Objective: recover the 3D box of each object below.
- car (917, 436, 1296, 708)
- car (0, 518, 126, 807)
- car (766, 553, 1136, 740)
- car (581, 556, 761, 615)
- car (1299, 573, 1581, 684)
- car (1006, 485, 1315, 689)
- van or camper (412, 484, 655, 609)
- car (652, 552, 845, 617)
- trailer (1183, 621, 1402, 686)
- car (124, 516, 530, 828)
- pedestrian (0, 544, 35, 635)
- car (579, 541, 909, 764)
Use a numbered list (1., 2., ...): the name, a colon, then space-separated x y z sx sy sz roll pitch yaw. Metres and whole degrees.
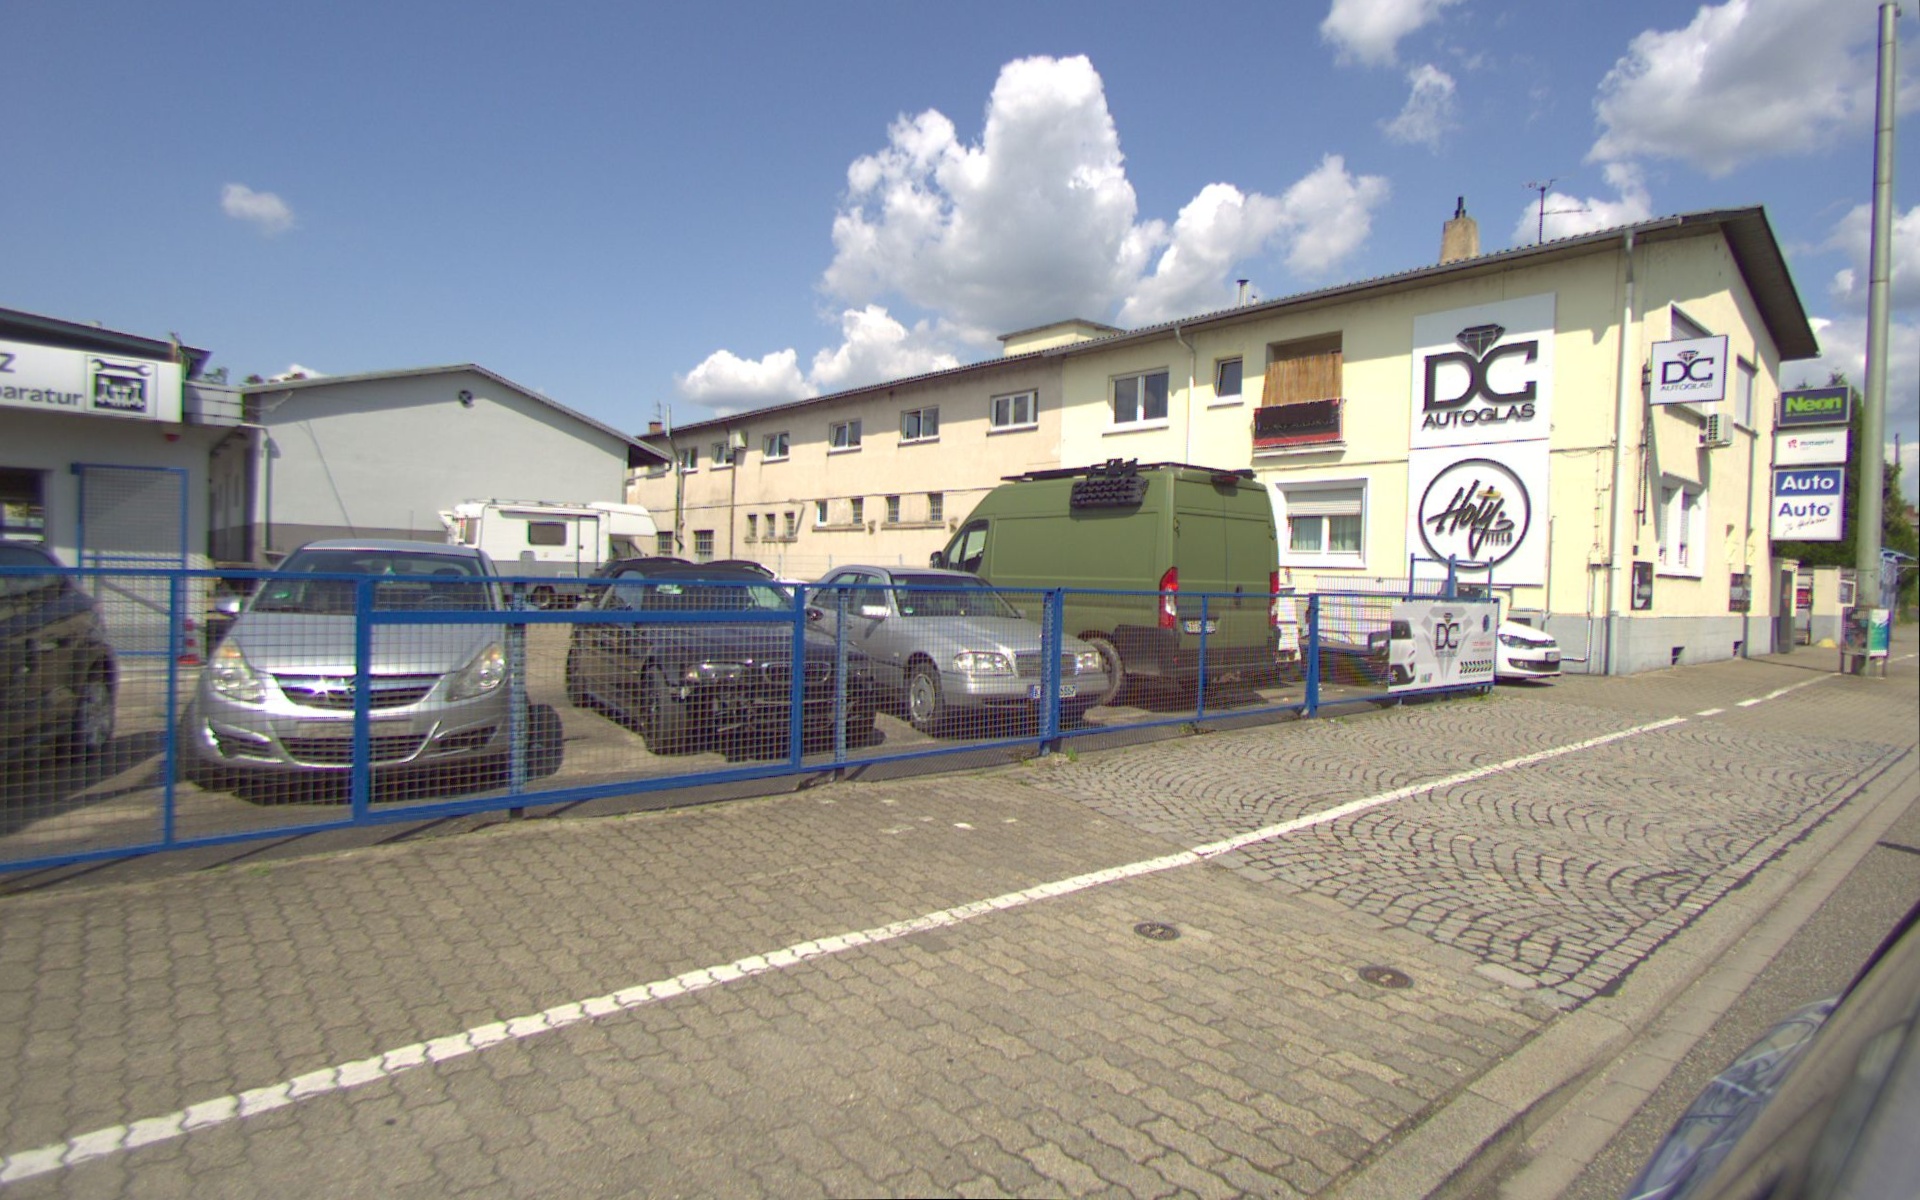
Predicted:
1. car: 1.587 -0.348 12.255 2.075 2.675 4.208 1 2 -39
2. car: -5.632 0.306 4.870 1.606 1.470 3.700 1 2 -25
3. car: -0.339 0.289 10.202 1.679 1.470 4.292 1 2 -33
4. car: -7.308 -0.356 25.809 4.112 1.378 1.645 0 2 -41
5. car: 7.533 0.363 16.178 1.527 1.481 3.775 1 2 -39
6. car: 2.643 -0.236 14.243 1.557 2.436 4.208 1 2 -39
7. van or camper: -11.305 -1.321 27.109 5.556 3.002 2.272 0 2 -42
8. car: -4.845 -0.346 23.546 4.112 1.378 1.645 0 2 -41
9. trailer: 4.748 0.726 14.649 1.307 0.674 2.730 0 2 -42
10. car: -3.899 0.283 6.839 1.736 1.470 3.778 1 2 -24
11. pedestrian: -13.162 -0.154 13.880 0.652 1.224 0.566 1 1 -39
12. car: -2.129 0.276 8.896 1.737 1.470 4.128 1 2 -28
